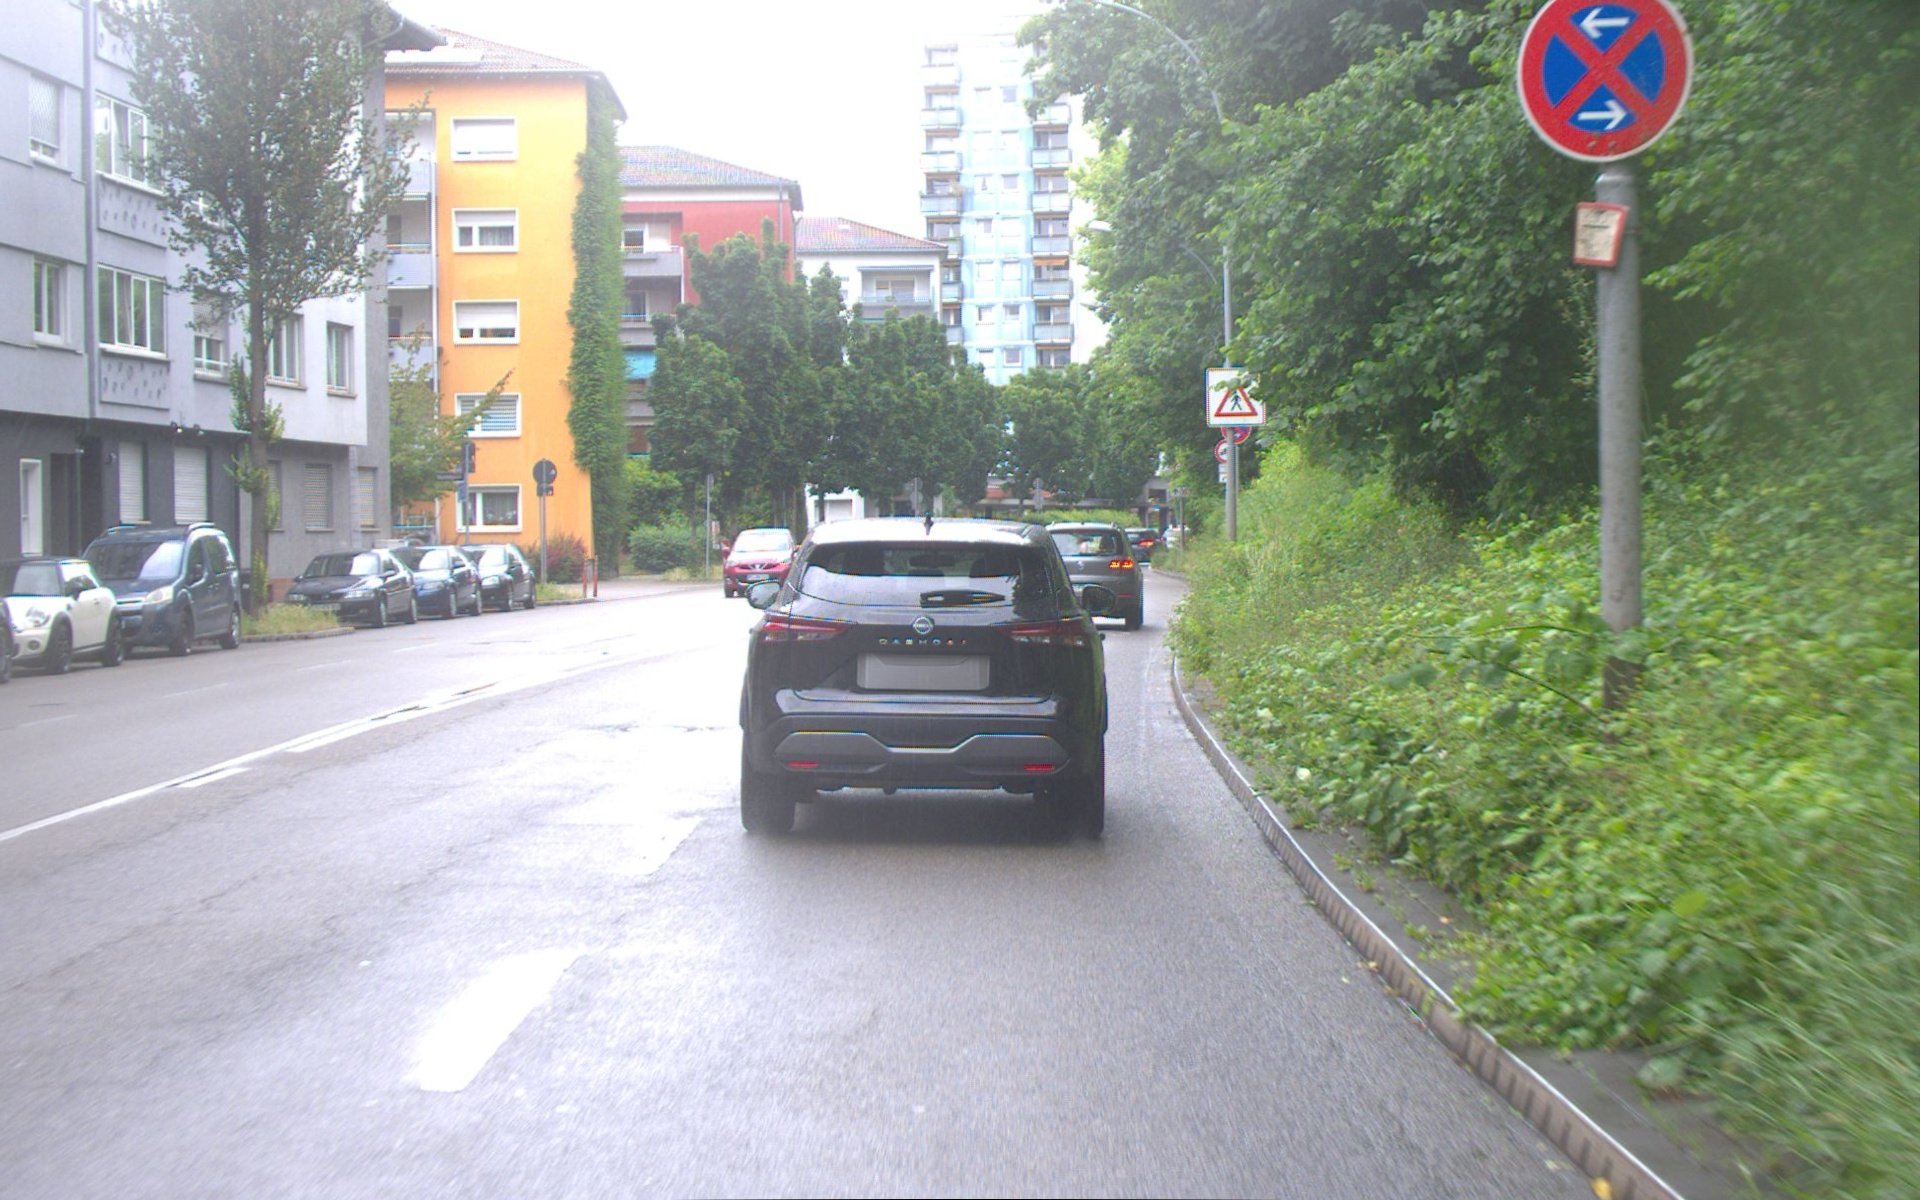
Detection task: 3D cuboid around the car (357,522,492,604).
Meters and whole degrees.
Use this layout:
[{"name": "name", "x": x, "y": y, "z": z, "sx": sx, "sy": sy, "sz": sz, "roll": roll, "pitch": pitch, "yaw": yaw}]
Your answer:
[{"name": "car", "x": -10.309, "y": -0.742, "z": 66.459, "sx": 1.680, "sy": 1.444, "sz": 4.276, "roll": -3, "pitch": 1, "yaw": 3}]

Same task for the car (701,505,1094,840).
[{"name": "car", "x": -0.224, "y": 0.293, "z": 18.420, "sx": 1.845, "sy": 1.577, "sz": 4.000, "roll": 1, "pitch": 1, "yaw": 2}]

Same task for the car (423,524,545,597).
[{"name": "car", "x": -10.027, "y": -0.857, "z": 72.712, "sx": 1.712, "sy": 1.420, "sz": 4.322, "roll": -3, "pitch": 1, "yaw": 3}]

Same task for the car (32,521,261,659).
[{"name": "car", "x": -11.242, "y": -0.182, "z": 47.830, "sx": 1.891, "sy": 1.760, "sz": 4.600, "roll": -2, "pitch": 1, "yaw": 2}]

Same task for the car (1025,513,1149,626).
[{"name": "car", "x": 2.029, "y": -0.509, "z": 54.056, "sx": 1.887, "sy": 1.705, "sz": 4.000, "roll": 0, "pitch": 1, "yaw": 3}]

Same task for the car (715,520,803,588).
[{"name": "car", "x": -4.576, "y": -1.068, "z": 78.589, "sx": 1.706, "sy": 1.473, "sz": 3.680, "roll": -1, "pitch": 1, "yaw": 1}]

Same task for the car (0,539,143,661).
[{"name": "car", "x": -11.426, "y": -0.012, "z": 42.279, "sx": 1.680, "sy": 1.371, "sz": 4.000, "roll": -3, "pitch": 1, "yaw": 1}]

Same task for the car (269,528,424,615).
[{"name": "car", "x": -10.815, "y": -0.530, "z": 60.872, "sx": 1.688, "sy": 1.353, "sz": 4.579, "roll": -4, "pitch": 1, "yaw": 2}]

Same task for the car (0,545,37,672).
[{"name": "car", "x": -11.372, "y": 0.161, "z": 36.666, "sx": 1.817, "sy": 1.367, "sz": 4.681, "roll": -2, "pitch": 2, "yaw": -1}]

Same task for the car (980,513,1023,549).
[{"name": "car", "x": 1.850, "y": -3.071, "z": 151.987, "sx": 1.788, "sy": 1.499, "sz": 4.649, "roll": -2, "pitch": 1, "yaw": 2}]
